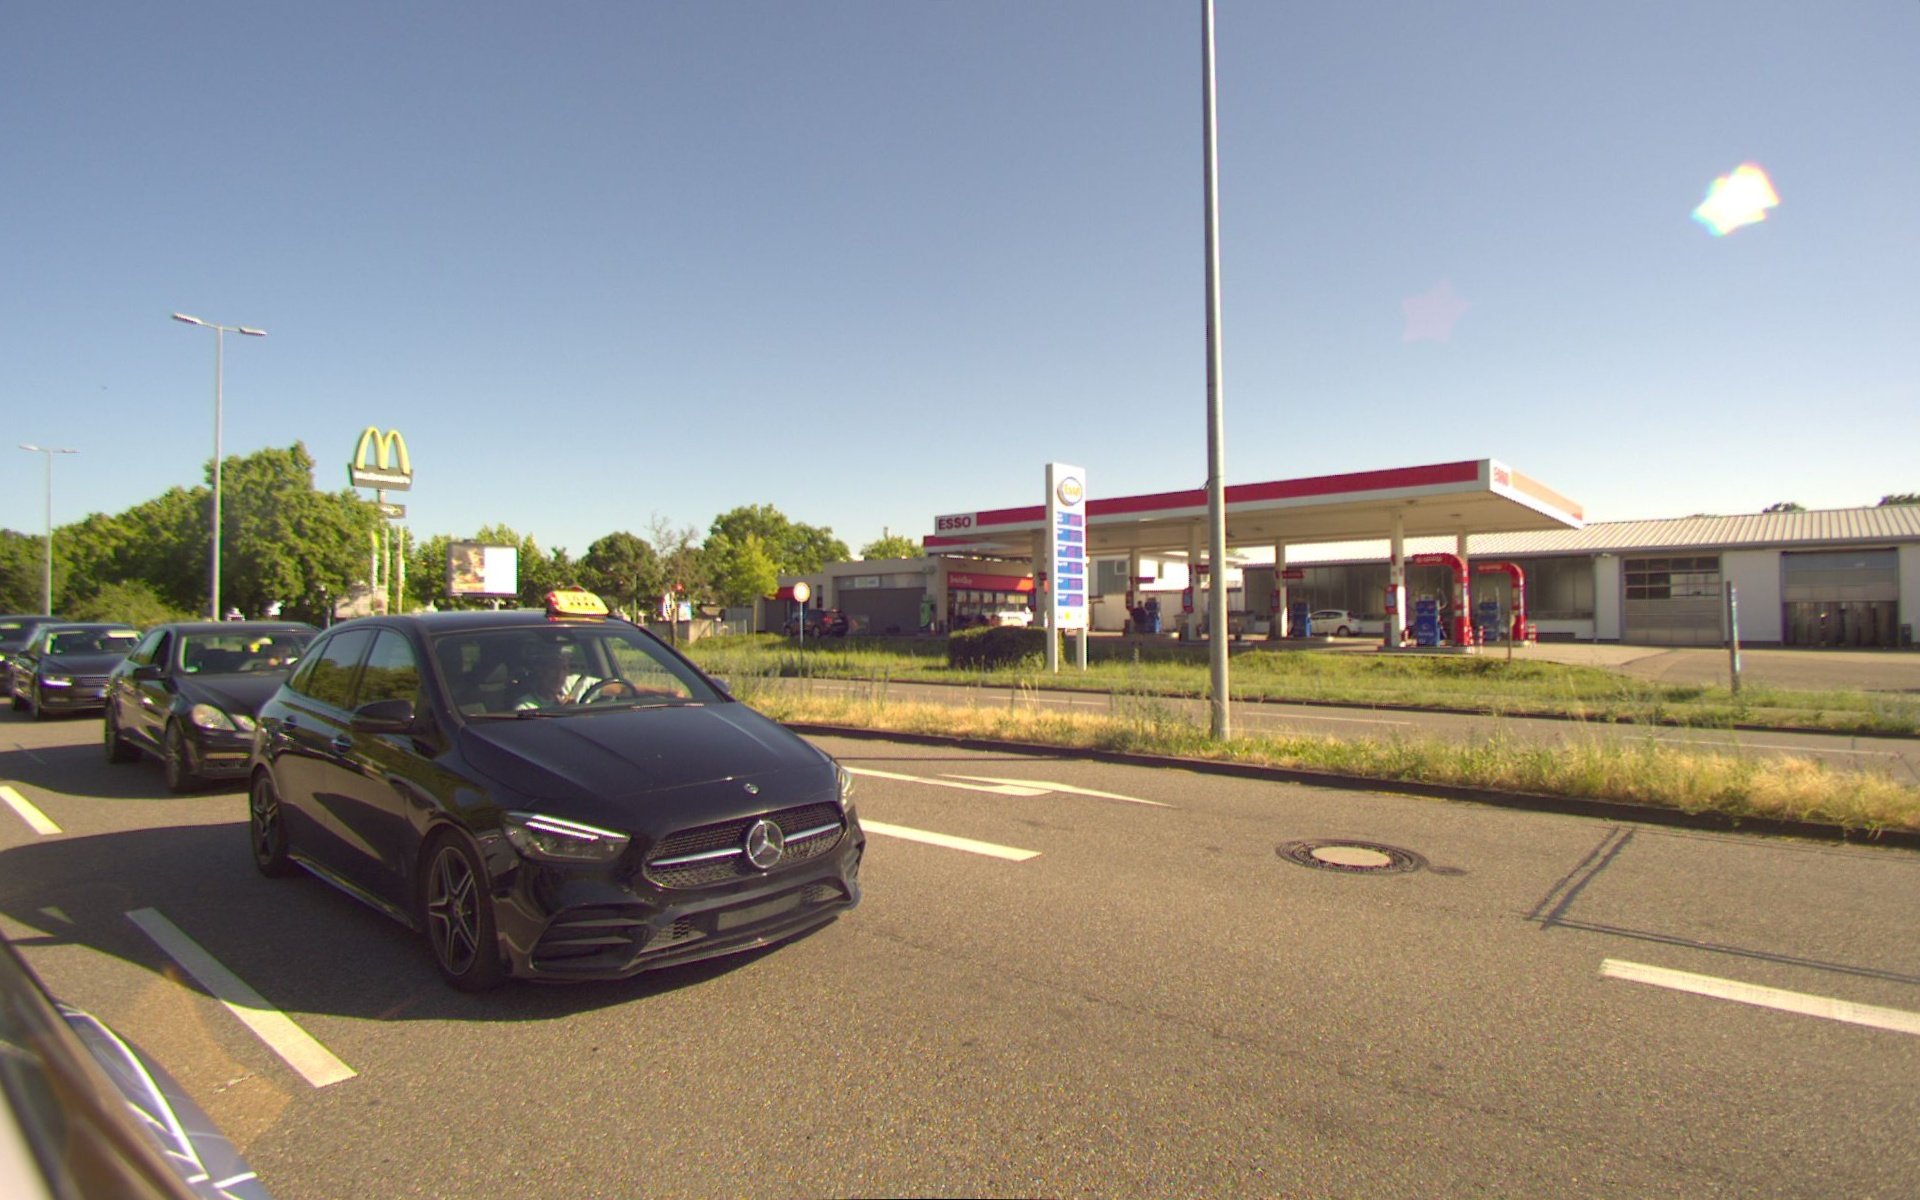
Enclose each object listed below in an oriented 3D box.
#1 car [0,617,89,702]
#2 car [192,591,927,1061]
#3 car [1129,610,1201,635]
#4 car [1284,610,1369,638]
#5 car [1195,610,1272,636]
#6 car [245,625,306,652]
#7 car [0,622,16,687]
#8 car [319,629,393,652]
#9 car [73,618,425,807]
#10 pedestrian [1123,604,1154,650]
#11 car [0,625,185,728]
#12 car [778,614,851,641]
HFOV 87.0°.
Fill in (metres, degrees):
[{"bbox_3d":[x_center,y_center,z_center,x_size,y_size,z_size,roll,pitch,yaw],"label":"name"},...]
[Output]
[{"bbox_3d":[-19.944,1.207,21.448,3.876,1.629,1.653,-2,-1,40],"label":"car"},{"bbox_3d":[-2.390,0.740,5.339,4.400,1.502,1.741,-1,0,40],"label":"car"},{"bbox_3d":[12.433,1.394,61.384,3.975,1.420,1.661,-1,-4,40],"label":"car"},{"bbox_3d":[19.833,1.299,54.843,3.975,1.420,1.661,-1,-4,40],"label":"car"},{"bbox_3d":[15.831,1.350,58.585,3.975,1.420,1.661,-1,-4,40],"label":"car"},{"bbox_3d":[-38.243,2.137,56.504,3.975,1.420,1.741,-1,-4,40],"label":"car"},{"bbox_3d":[-25.229,1.374,25.546,3.774,1.567,1.615,-1,-1,40],"label":"car"},{"bbox_3d":[-39.504,2.694,66.265,1.750,1.420,3.955,1,-3,18],"label":"car"},{"bbox_3d":[-7.267,0.934,10.166,4.400,1.449,1.845,-1,0,40],"label":"car"},{"bbox_3d":[6.965,1.029,39.557,0.903,1.763,0.780,-1,0,40],"label":"pedestrian"},{"bbox_3d":[-14.457,1.158,16.698,4.284,1.438,1.775,-1,0,40],"label":"car"},{"bbox_3d":[-7.891,1.490,54.828,3.975,1.420,1.661,-1,-4,40],"label":"car"}]
